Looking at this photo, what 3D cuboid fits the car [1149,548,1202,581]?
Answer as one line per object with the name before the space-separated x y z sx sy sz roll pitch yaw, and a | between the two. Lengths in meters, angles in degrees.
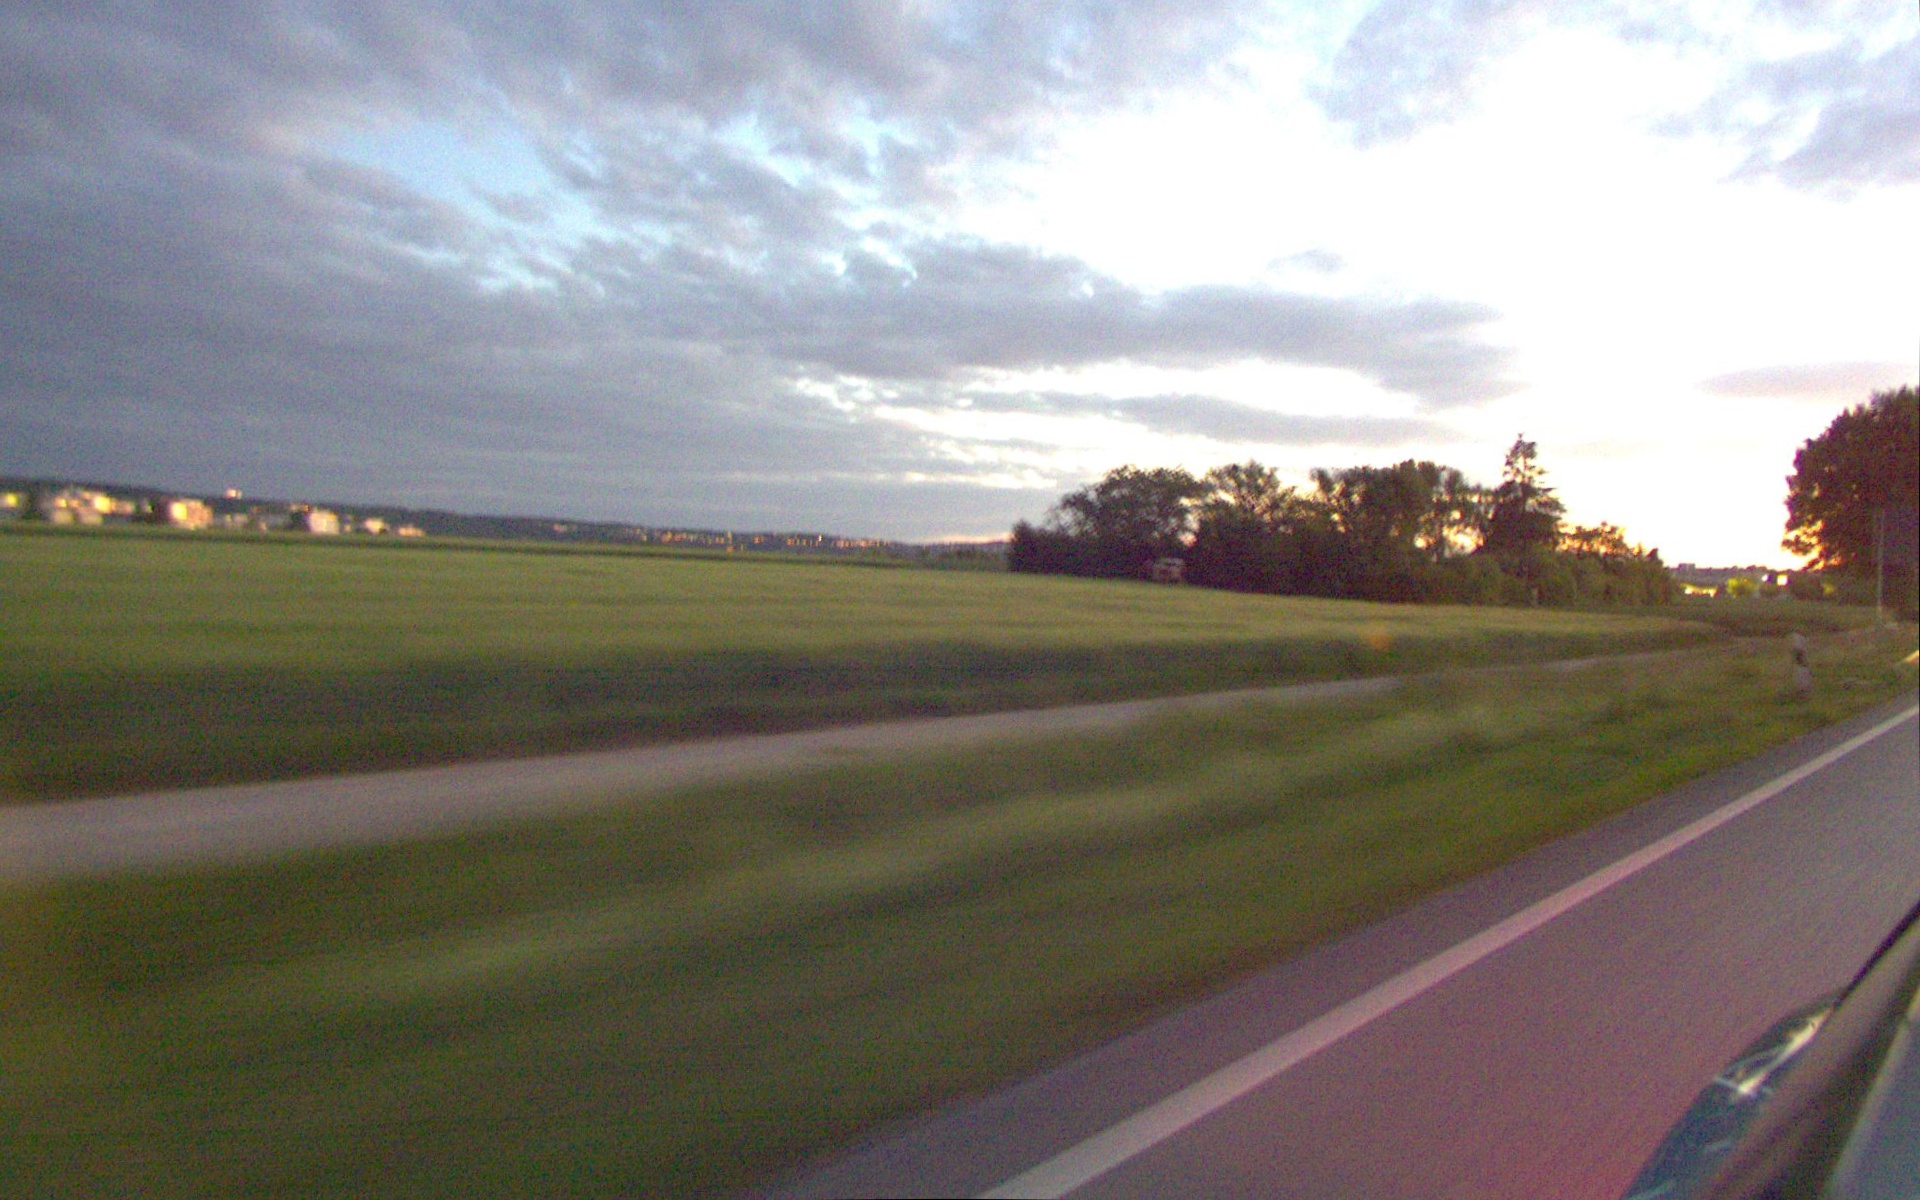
car | 15.492 -2.522 72.665 1.989 2.178 4.520 4 3 36
